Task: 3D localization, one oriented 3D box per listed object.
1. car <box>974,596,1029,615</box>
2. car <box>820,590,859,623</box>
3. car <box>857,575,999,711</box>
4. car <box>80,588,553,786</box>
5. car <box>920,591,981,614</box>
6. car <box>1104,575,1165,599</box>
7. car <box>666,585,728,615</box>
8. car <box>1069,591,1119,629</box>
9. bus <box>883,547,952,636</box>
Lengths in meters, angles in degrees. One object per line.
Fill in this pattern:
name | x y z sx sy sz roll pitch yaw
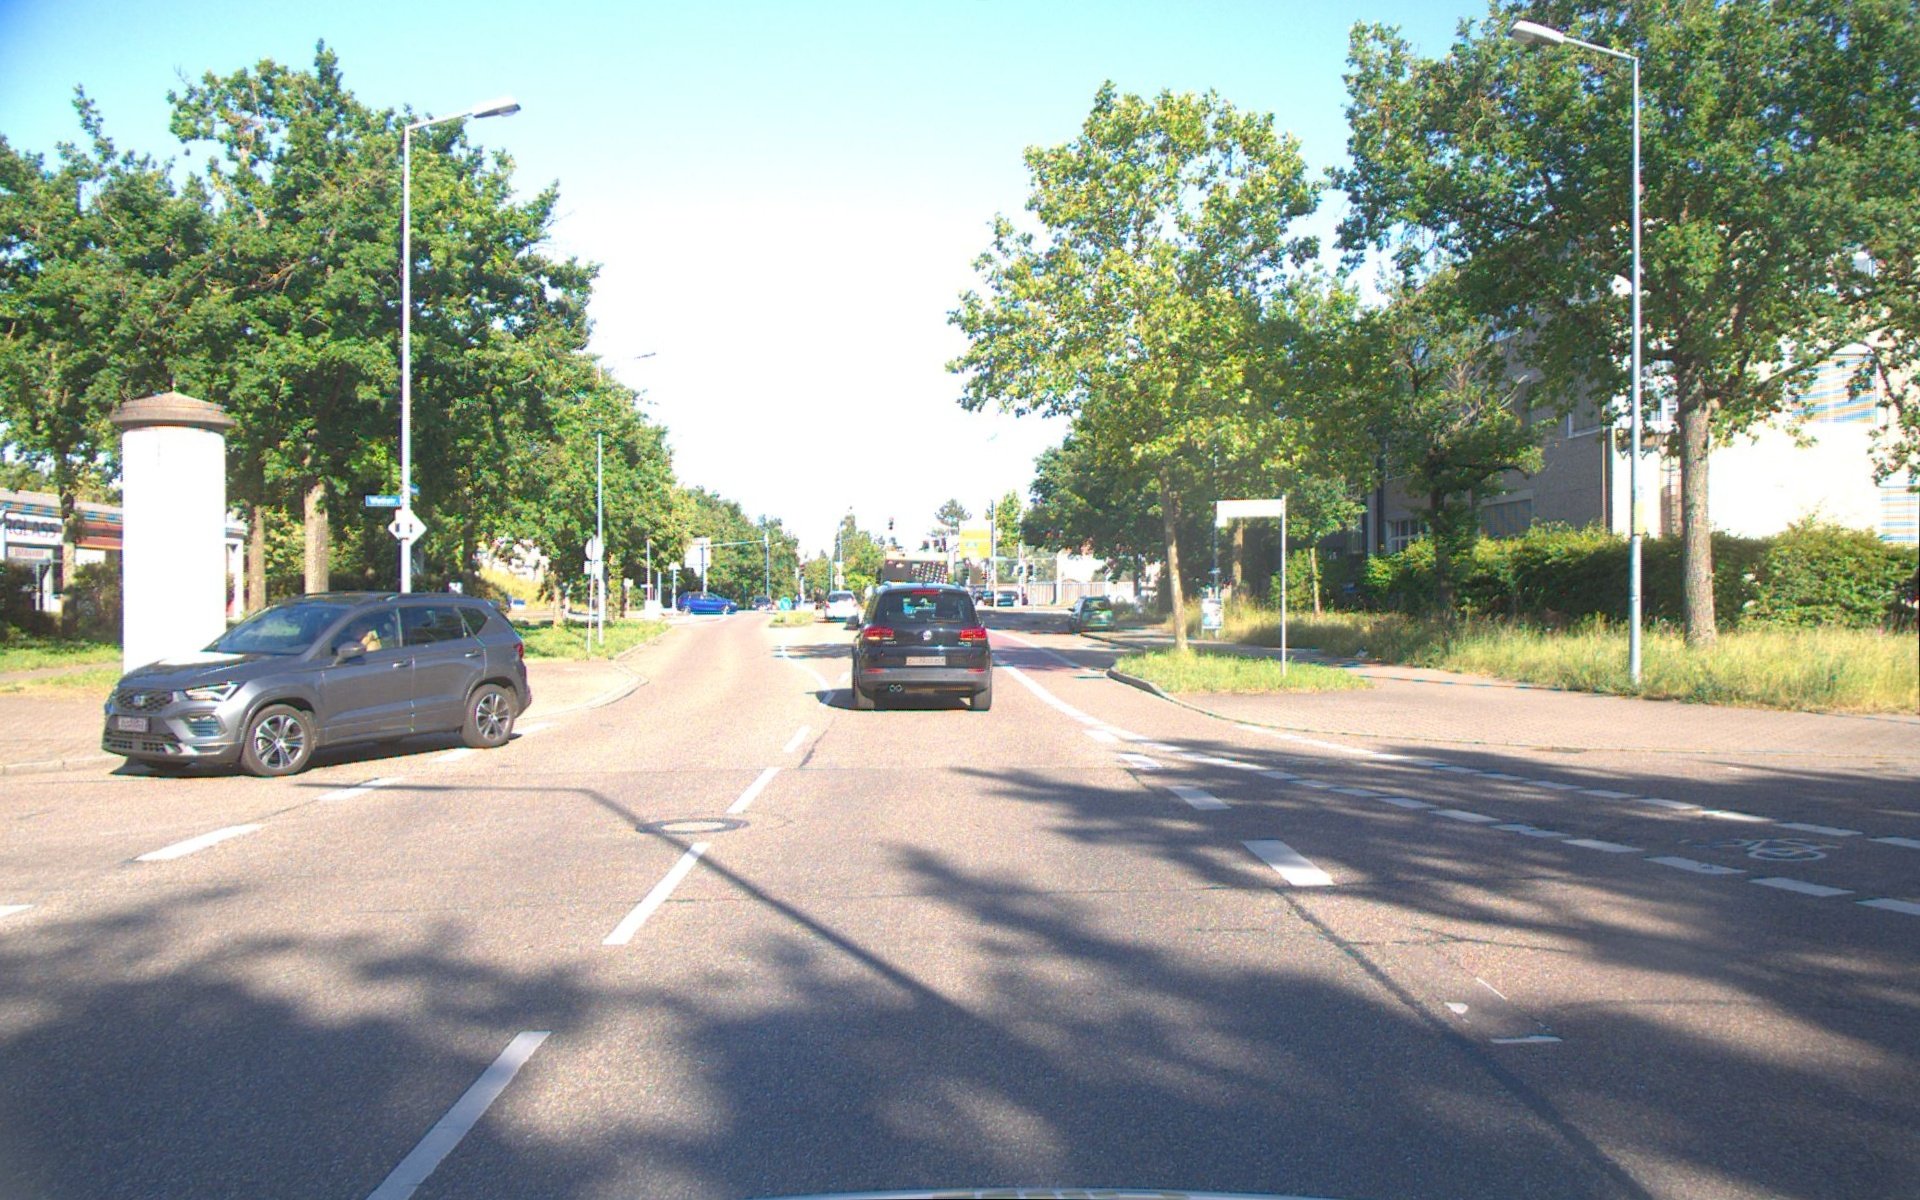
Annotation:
car | 3.114 0.390 124.392 3.822 1.364 1.678 1 -1 -12
car | -6.274 0.334 85.575 1.721 1.649 4.025 0 -1 -9
car | -0.435 0.570 22.964 1.784 1.703 4.002 -1 -1 -1
car | -6.124 0.733 16.301 1.720 1.623 4.294 -1 1 27
car | -0.560 0.149 97.973 3.447 1.325 1.576 0 0 6
car | 13.299 -1.000 126.230 4.300 1.713 1.709 1 -1 -8
car | -17.240 0.018 108.530 3.911 1.913 1.997 1 -1 -7
car | 5.443 0.393 67.560 1.560 1.453 4.202 -2 0 -2
bus | -1.910 -0.344 69.382 2.544 3.393 11.976 1 0 -3
